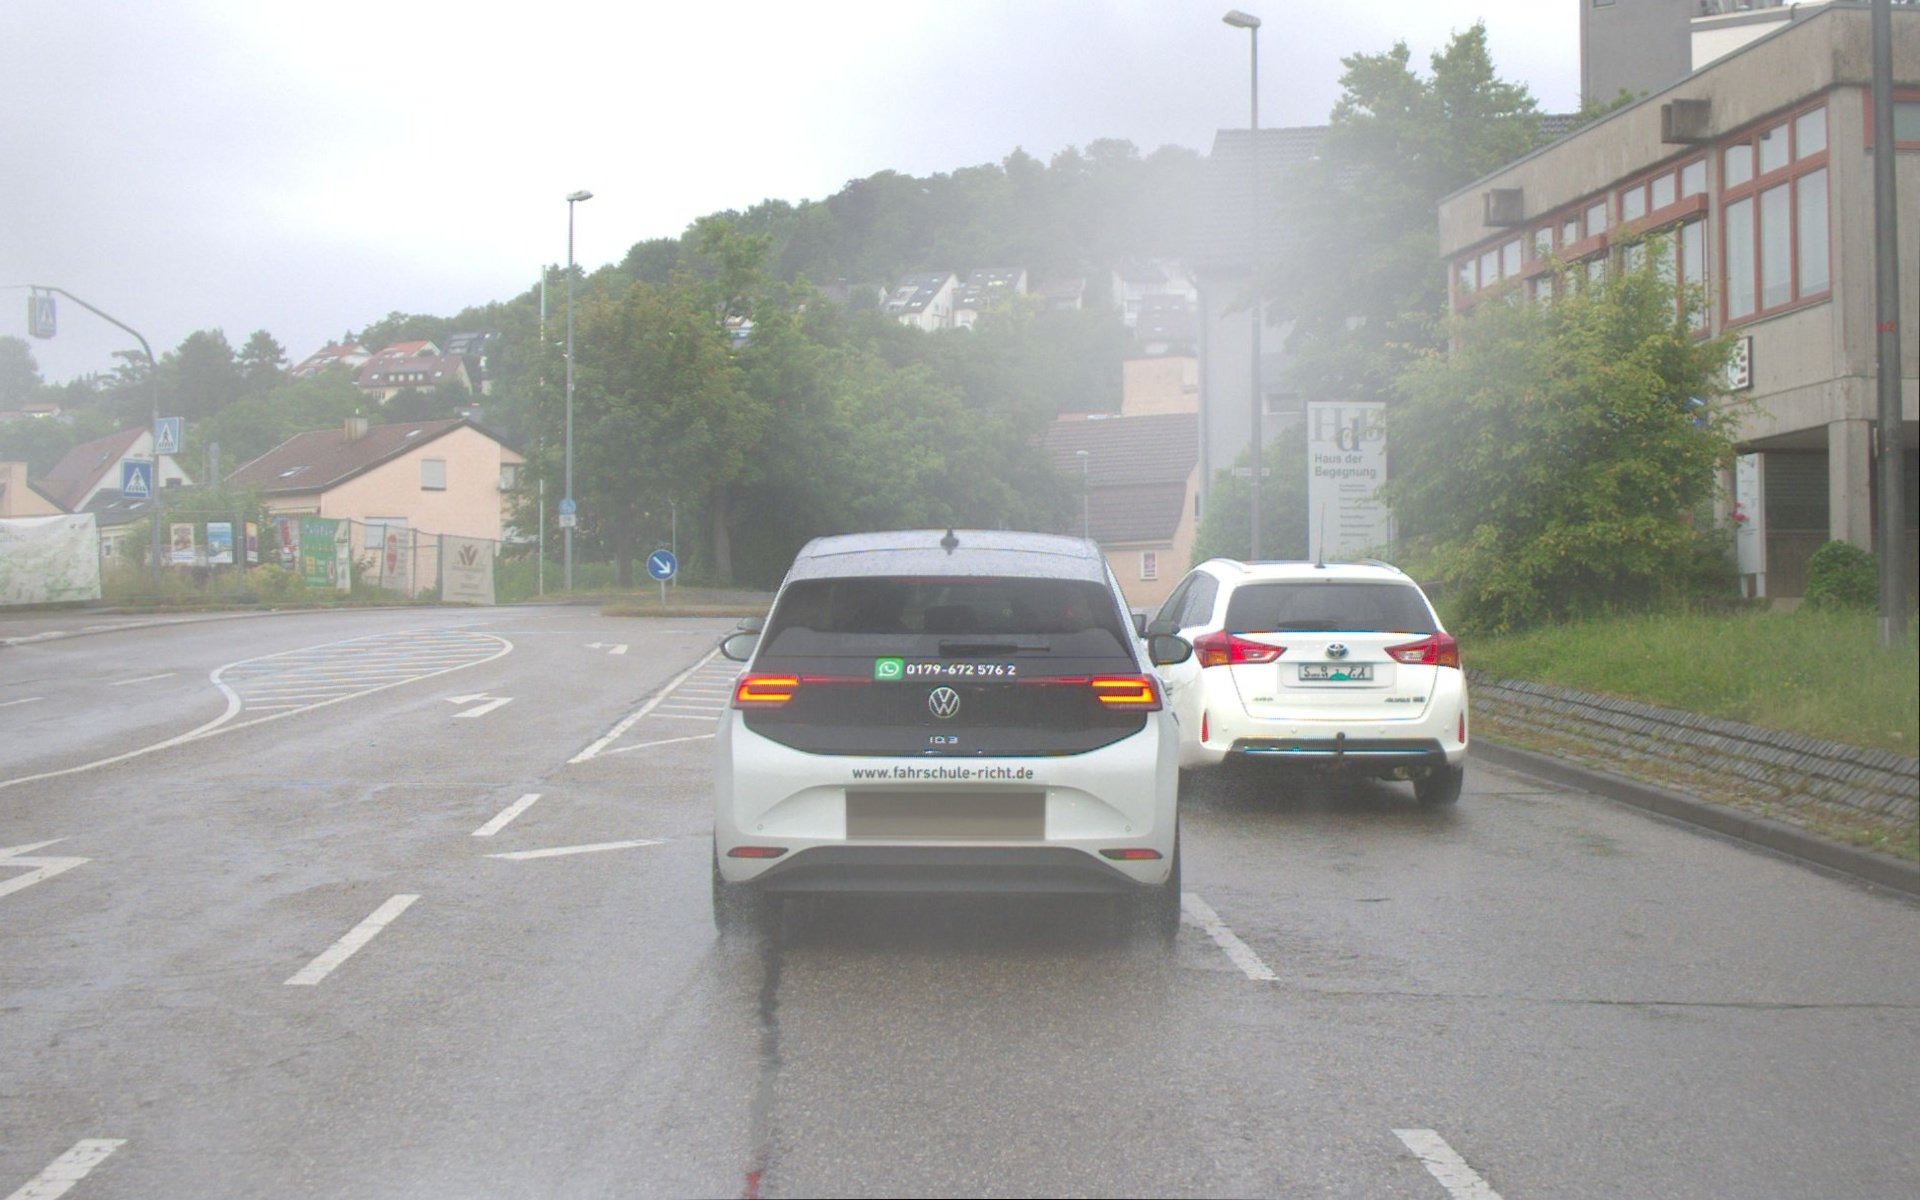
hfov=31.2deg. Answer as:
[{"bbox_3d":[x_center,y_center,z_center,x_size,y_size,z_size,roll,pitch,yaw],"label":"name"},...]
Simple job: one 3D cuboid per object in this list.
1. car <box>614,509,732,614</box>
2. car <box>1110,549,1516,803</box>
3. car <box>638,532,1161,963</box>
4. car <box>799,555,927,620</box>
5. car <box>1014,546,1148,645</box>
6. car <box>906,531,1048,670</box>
[{"bbox_3d":[-5.747,-0.742,69.170,1.993,2.007,4.000,1,0,0],"label":"car"},{"bbox_3d":[2.066,0.424,21.316,1.848,1.405,4.302,0,0,-3],"label":"car"},{"bbox_3d":[-0.138,0.517,14.163,1.829,1.495,4.168,0,0,2],"label":"car"},{"bbox_3d":[-2.607,-0.323,93.343,1.995,1.687,4.701,1,0,18],"label":"car"},{"bbox_3d":[1.932,-0.067,54.810,1.993,1.448,3.770,-2,0,2],"label":"car"},{"bbox_3d":[0.175,-0.028,39.884,1.567,1.525,4.000,0,1,0],"label":"car"}]
